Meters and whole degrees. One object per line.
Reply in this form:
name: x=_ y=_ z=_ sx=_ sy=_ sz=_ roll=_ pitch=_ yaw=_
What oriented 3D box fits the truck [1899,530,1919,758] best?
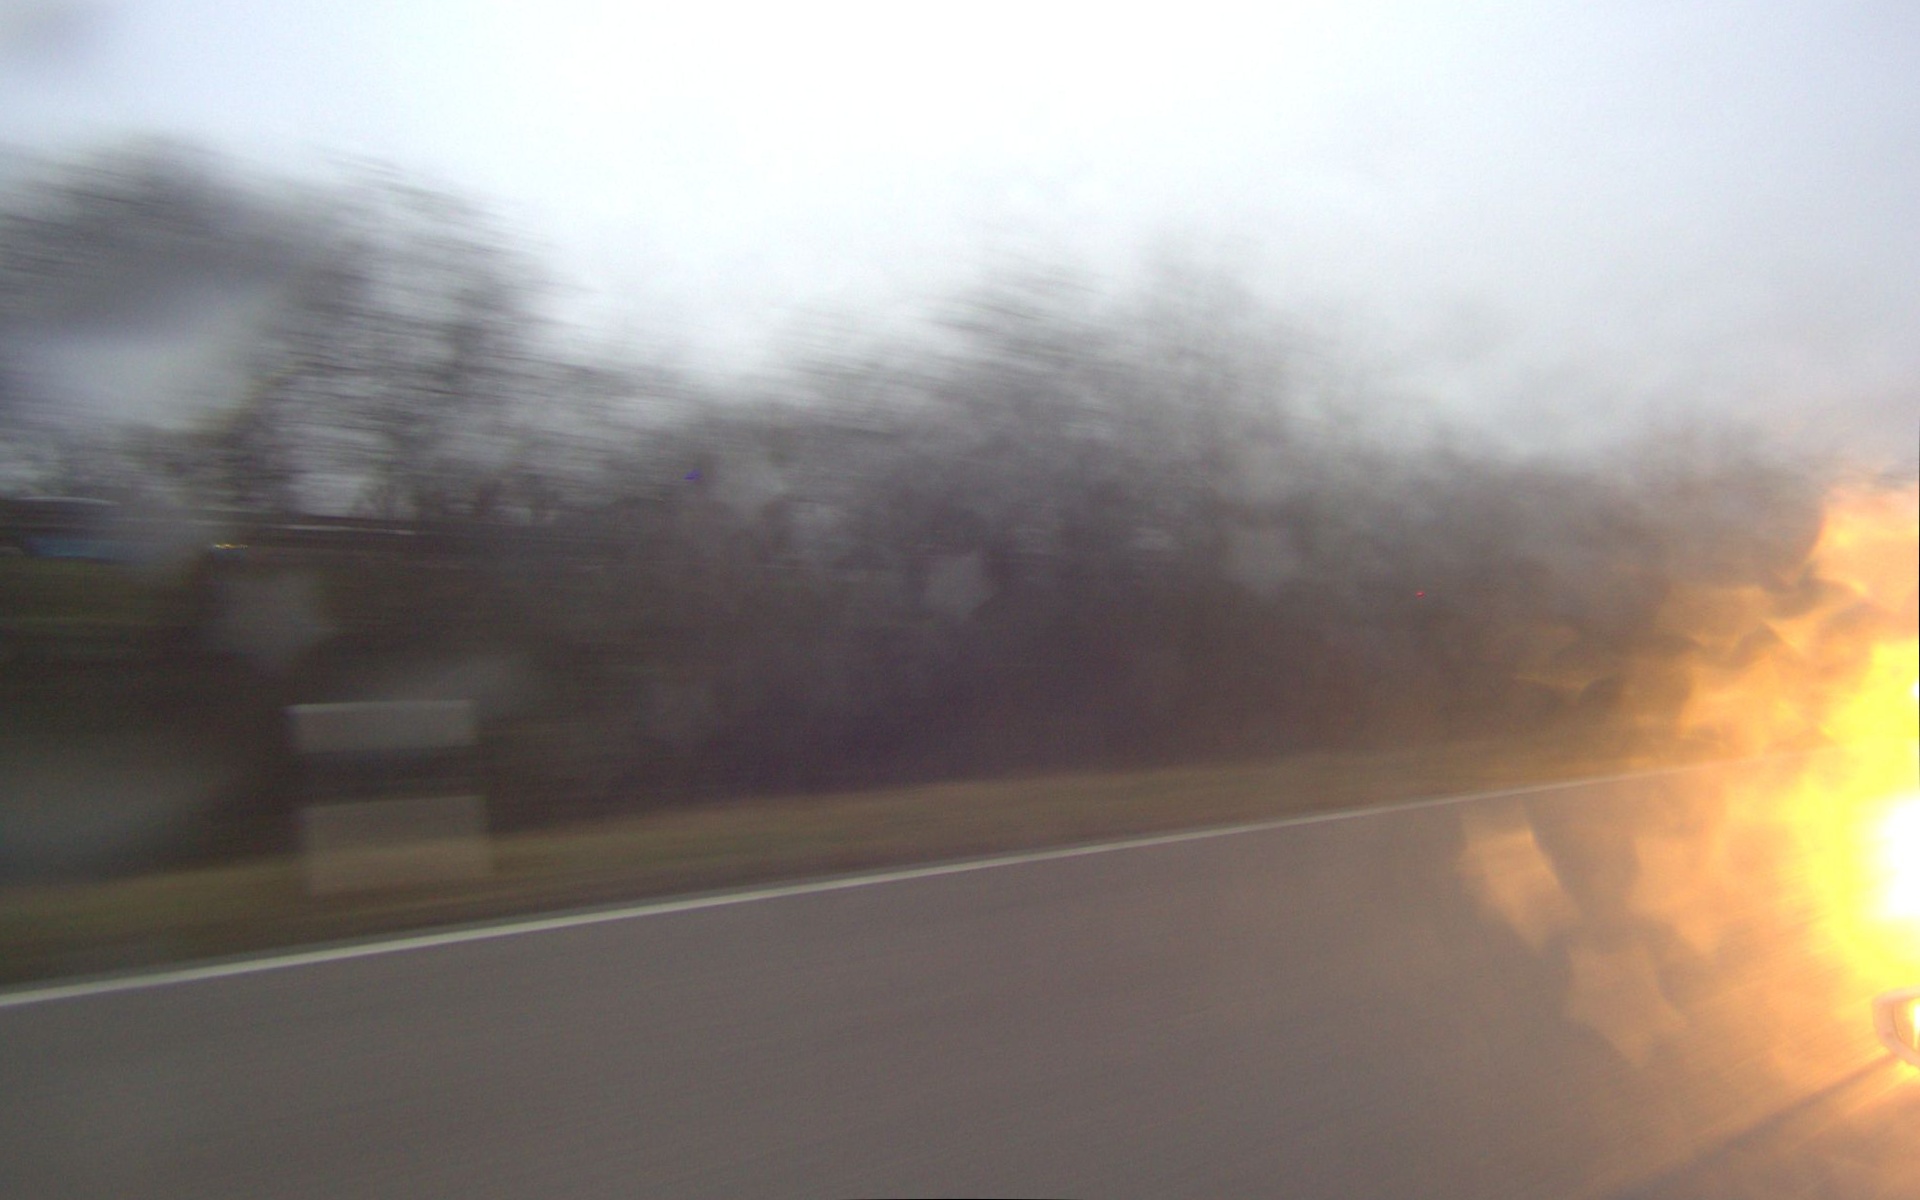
truck: x=13.307 y=0.551 z=11.609 sx=5.312 sy=2.500 sz=2.227 roll=2 pitch=0 yaw=-31
